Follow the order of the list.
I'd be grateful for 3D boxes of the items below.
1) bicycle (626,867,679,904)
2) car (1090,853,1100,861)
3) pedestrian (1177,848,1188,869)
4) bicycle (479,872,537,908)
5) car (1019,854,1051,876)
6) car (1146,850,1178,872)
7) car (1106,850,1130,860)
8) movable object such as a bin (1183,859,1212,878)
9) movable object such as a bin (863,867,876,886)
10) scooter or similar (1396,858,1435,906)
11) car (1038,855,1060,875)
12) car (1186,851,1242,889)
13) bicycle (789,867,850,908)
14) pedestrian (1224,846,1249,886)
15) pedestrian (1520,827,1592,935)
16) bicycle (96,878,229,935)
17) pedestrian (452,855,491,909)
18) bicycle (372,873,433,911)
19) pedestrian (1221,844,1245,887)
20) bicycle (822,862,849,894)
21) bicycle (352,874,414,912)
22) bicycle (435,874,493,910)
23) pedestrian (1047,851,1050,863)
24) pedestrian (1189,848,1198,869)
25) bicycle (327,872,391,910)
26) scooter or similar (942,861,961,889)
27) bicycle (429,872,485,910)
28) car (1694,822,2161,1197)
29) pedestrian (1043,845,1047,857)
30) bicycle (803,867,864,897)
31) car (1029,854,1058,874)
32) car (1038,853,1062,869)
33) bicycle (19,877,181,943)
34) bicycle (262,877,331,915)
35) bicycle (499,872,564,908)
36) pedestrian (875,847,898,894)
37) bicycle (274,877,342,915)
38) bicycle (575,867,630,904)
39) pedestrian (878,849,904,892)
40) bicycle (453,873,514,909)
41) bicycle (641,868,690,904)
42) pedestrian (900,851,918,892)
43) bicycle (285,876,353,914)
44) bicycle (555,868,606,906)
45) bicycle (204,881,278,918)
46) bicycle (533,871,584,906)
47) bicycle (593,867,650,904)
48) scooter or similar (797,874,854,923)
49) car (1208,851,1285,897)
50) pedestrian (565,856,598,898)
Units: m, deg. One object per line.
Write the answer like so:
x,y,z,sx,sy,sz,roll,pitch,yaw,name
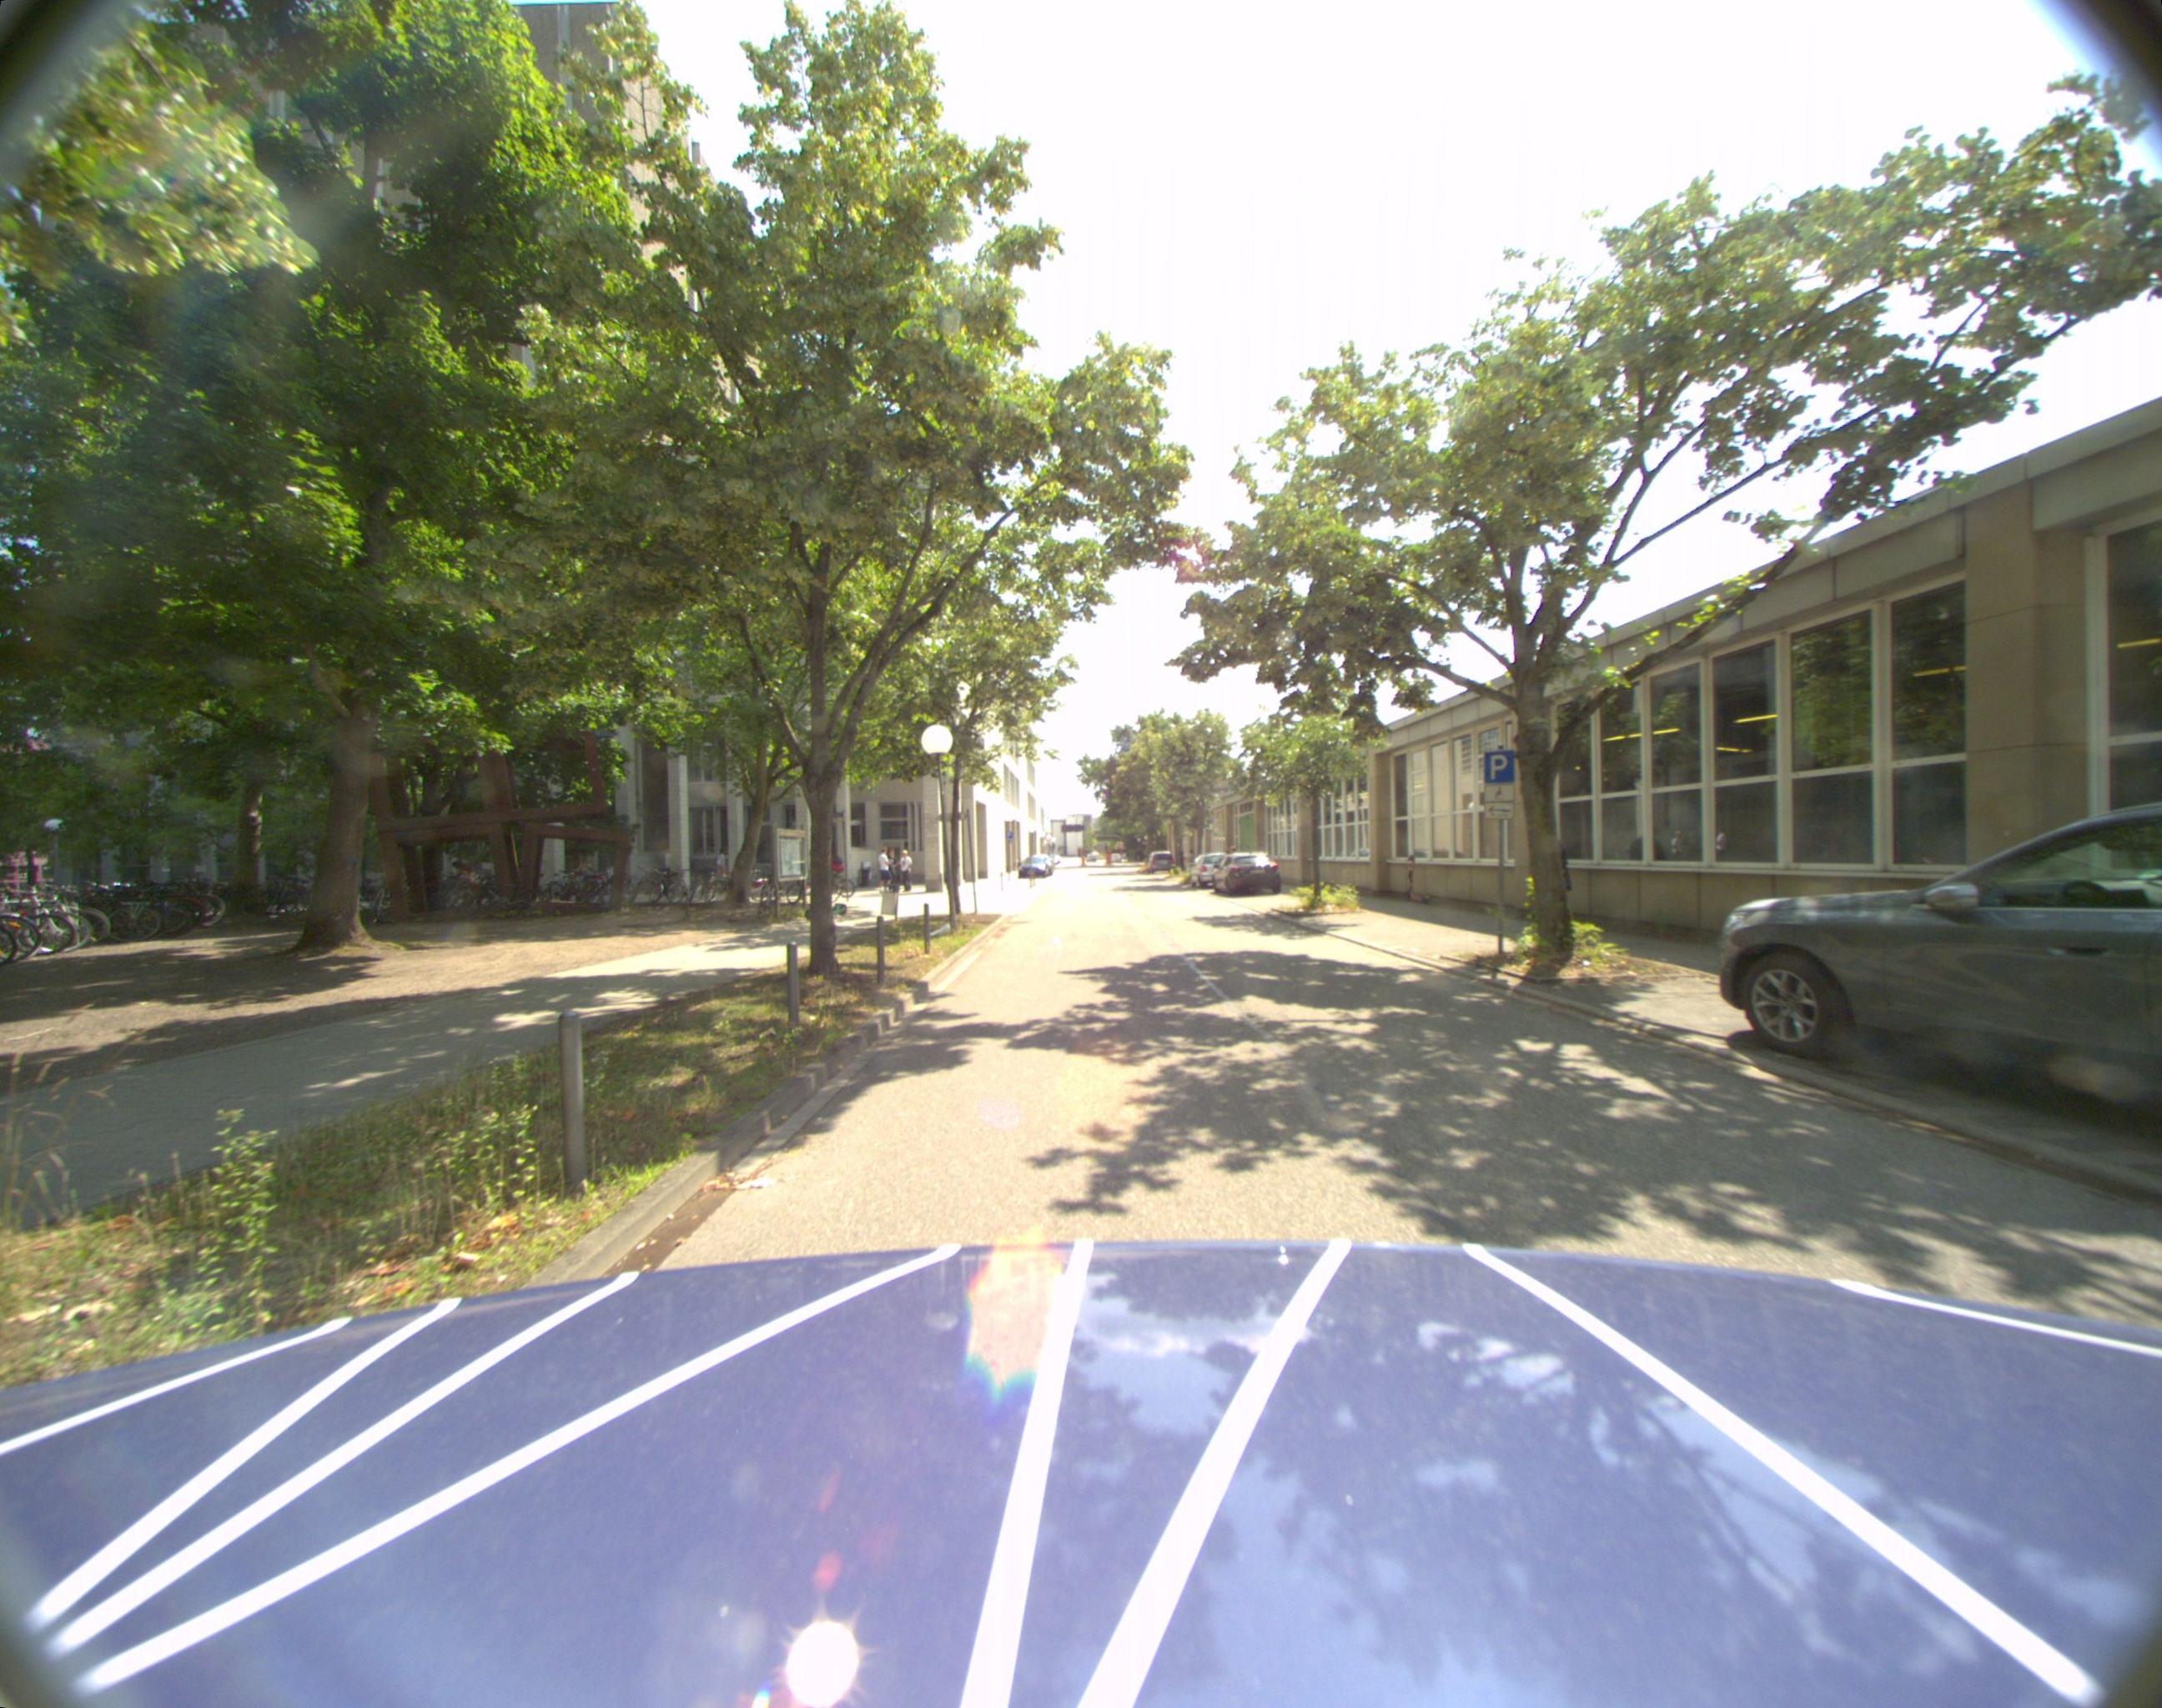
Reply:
-13.666,0.998,24.286,0.565,1.118,1.697,0,-1,6,bicycle
2.606,0.523,144.550,1.803,1.441,3.676,-4,0,0,car
7.589,0.360,56.707,0.604,1.571,0.552,1,0,31,pedestrian
-18.105,1.129,24.056,0.617,1.041,1.688,-4,-1,-5,bicycle
-2.992,0.738,50.285,1.843,1.390,3.878,0,-1,1,car
5.824,0.471,54.966,1.803,1.441,3.676,-4,0,0,car
6.053,0.141,124.889,3.674,1.441,1.804,-4,1,-1,car
6.334,0.783,41.486,1.295,0.979,1.696,-3,0,1,movable object such as a bin
-10.953,1.165,39.360,0.513,0.944,0.512,2,0,-2,movable object such as a bin
8.672,0.708,19.724,0.383,1.200,1.246,-3,0,-1,scooter or similar
-2.949,1.007,70.906,1.799,1.691,4.000,2,0,1,car
5.668,0.645,32.826,1.634,1.441,3.752,-4,0,0,car
-8.000,1.001,23.298,0.604,1.135,1.790,1,1,33,bicycle
6.107,0.452,29.851,0.797,1.533,0.664,-1,1,-1,pedestrian
8.192,0.459,13.132,0.670,1.776,0.790,-3,0,0,pedestrian
-20.739,1.159,17.206,1.848,1.163,0.435,-1,0,-35,bicycle
-19.657,0.875,24.517,0.428,1.693,0.944,-3,0,-4,pedestrian
-21.500,1.170,24.119,0.454,1.123,1.688,-4,-1,-5,bicycle
6.108,0.459,30.575,0.797,1.718,0.601,-1,1,-1,pedestrian
-10.360,1.002,32.145,0.531,1.235,1.829,-1,1,-1,bicycle
-22.083,1.206,24.068,0.454,1.123,1.688,-4,-1,-5,bicycle
-19.403,1.175,23.938,0.501,1.041,1.688,-4,-1,-5,bicycle
-4.472,0.362,104.209,0.383,1.620,0.519,2,0,1,pedestrian
8.383,0.317,56.668,0.605,1.571,0.551,1,0,-2,pedestrian
-22.655,1.136,23.879,0.454,1.123,1.688,-4,-1,-5,bicycle
-5.830,0.935,34.264,0.564,1.205,1.510,1,1,-1,scooter or similar
-20.003,1.168,24.382,0.454,1.123,1.688,-4,-1,-5,bicycle
5.700,0.673,3.578,1.826,1.623,4.515,-3,1,-2,car
-4.910,-0.386,104.236,0.441,1.620,0.570,2,0,1,pedestrian
-9.206,1.041,28.304,1.928,1.036,0.818,-1,4,8,bicycle
-2.727,0.727,56.033,1.843,1.390,3.878,0,-1,1,car
-2.681,0.609,65.913,1.843,1.390,3.878,0,-1,1,car
-18.856,1.049,14.661,1.849,1.163,0.412,-1,0,-39,bicycle
-24.820,1.303,24.067,0.478,1.123,1.688,-4,-1,-5,bicycle
-17.368,1.112,24.066,0.617,1.041,1.697,-4,-1,8,bicycle
-7.978,0.663,31.173,0.687,1.880,0.686,-2,2,-2,pedestrian
-24.283,1.298,23.903,0.454,1.123,1.688,-4,-1,-5,bicycle
-15.215,0.996,24.220,0.627,1.143,1.697,1,-1,2,bicycle
-8.075,0.678,32.318,0.811,1.787,0.618,-2,2,-43,pedestrian
-18.823,1.158,23.978,0.617,1.041,1.688,-4,-1,-5,bicycle
-13.162,1.004,24.123,0.481,1.118,1.697,0,-1,6,bicycle
-7.322,0.728,32.397,0.614,1.719,0.542,-1,1,1,pedestrian
-23.767,1.258,23.742,0.454,1.123,1.688,-4,-1,-5,bicycle
-15.896,1.025,24.169,0.628,1.143,1.695,-4,-1,-8,bicycle
-26.508,1.408,24.023,0.478,1.077,1.688,-4,-1,-4,bicycle
-16.558,1.066,24.101,0.568,1.041,1.695,-4,-1,-7,bicycle
-14.506,0.989,24.029,0.627,1.118,1.697,0,-1,6,bicycle
-6.131,1.050,18.319,0.496,1.107,1.365,-1,-1,25,scooter or similar
5.814,0.671,27.159,1.729,1.427,4.289,-3,0,0,car
-21.084,0.954,32.089,0.938,1.730,0.748,-2,1,-19,pedestrian
